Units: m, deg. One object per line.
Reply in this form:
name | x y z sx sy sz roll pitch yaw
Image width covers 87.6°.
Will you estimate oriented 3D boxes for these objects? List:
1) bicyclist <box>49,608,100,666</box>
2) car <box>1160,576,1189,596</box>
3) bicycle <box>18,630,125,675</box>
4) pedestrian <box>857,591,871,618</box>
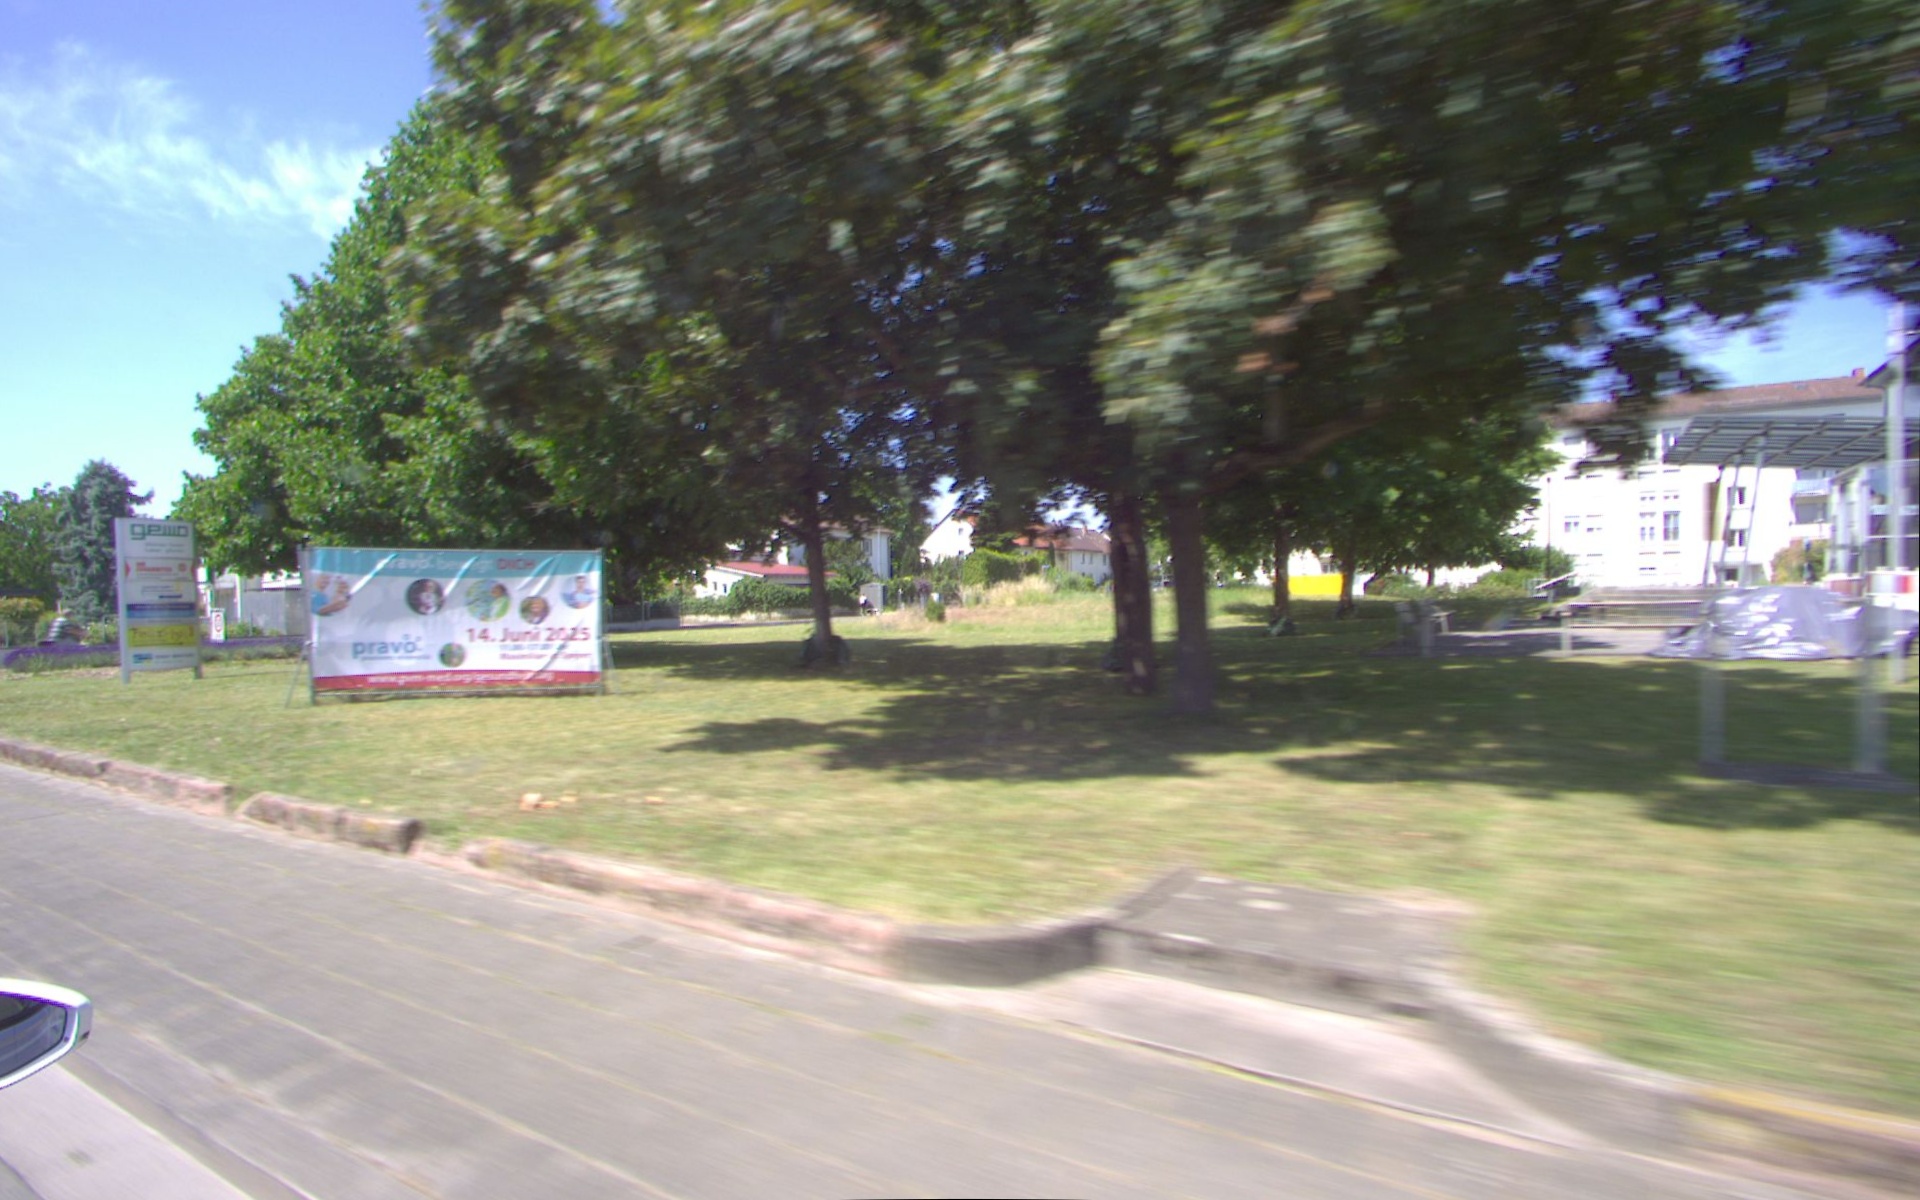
bicyclist | -24.775 1.018 28.016 0.846 1.551 0.921 0 1 41
car | 21.623 -1.429 100.925 1.505 1.952 3.155 -1 1 41
bicycle | -24.799 1.451 27.990 0.806 1.118 2.129 -1 1 40
pedestrian | -6.674 0.323 69.651 0.772 1.876 0.629 -1 -2 27
